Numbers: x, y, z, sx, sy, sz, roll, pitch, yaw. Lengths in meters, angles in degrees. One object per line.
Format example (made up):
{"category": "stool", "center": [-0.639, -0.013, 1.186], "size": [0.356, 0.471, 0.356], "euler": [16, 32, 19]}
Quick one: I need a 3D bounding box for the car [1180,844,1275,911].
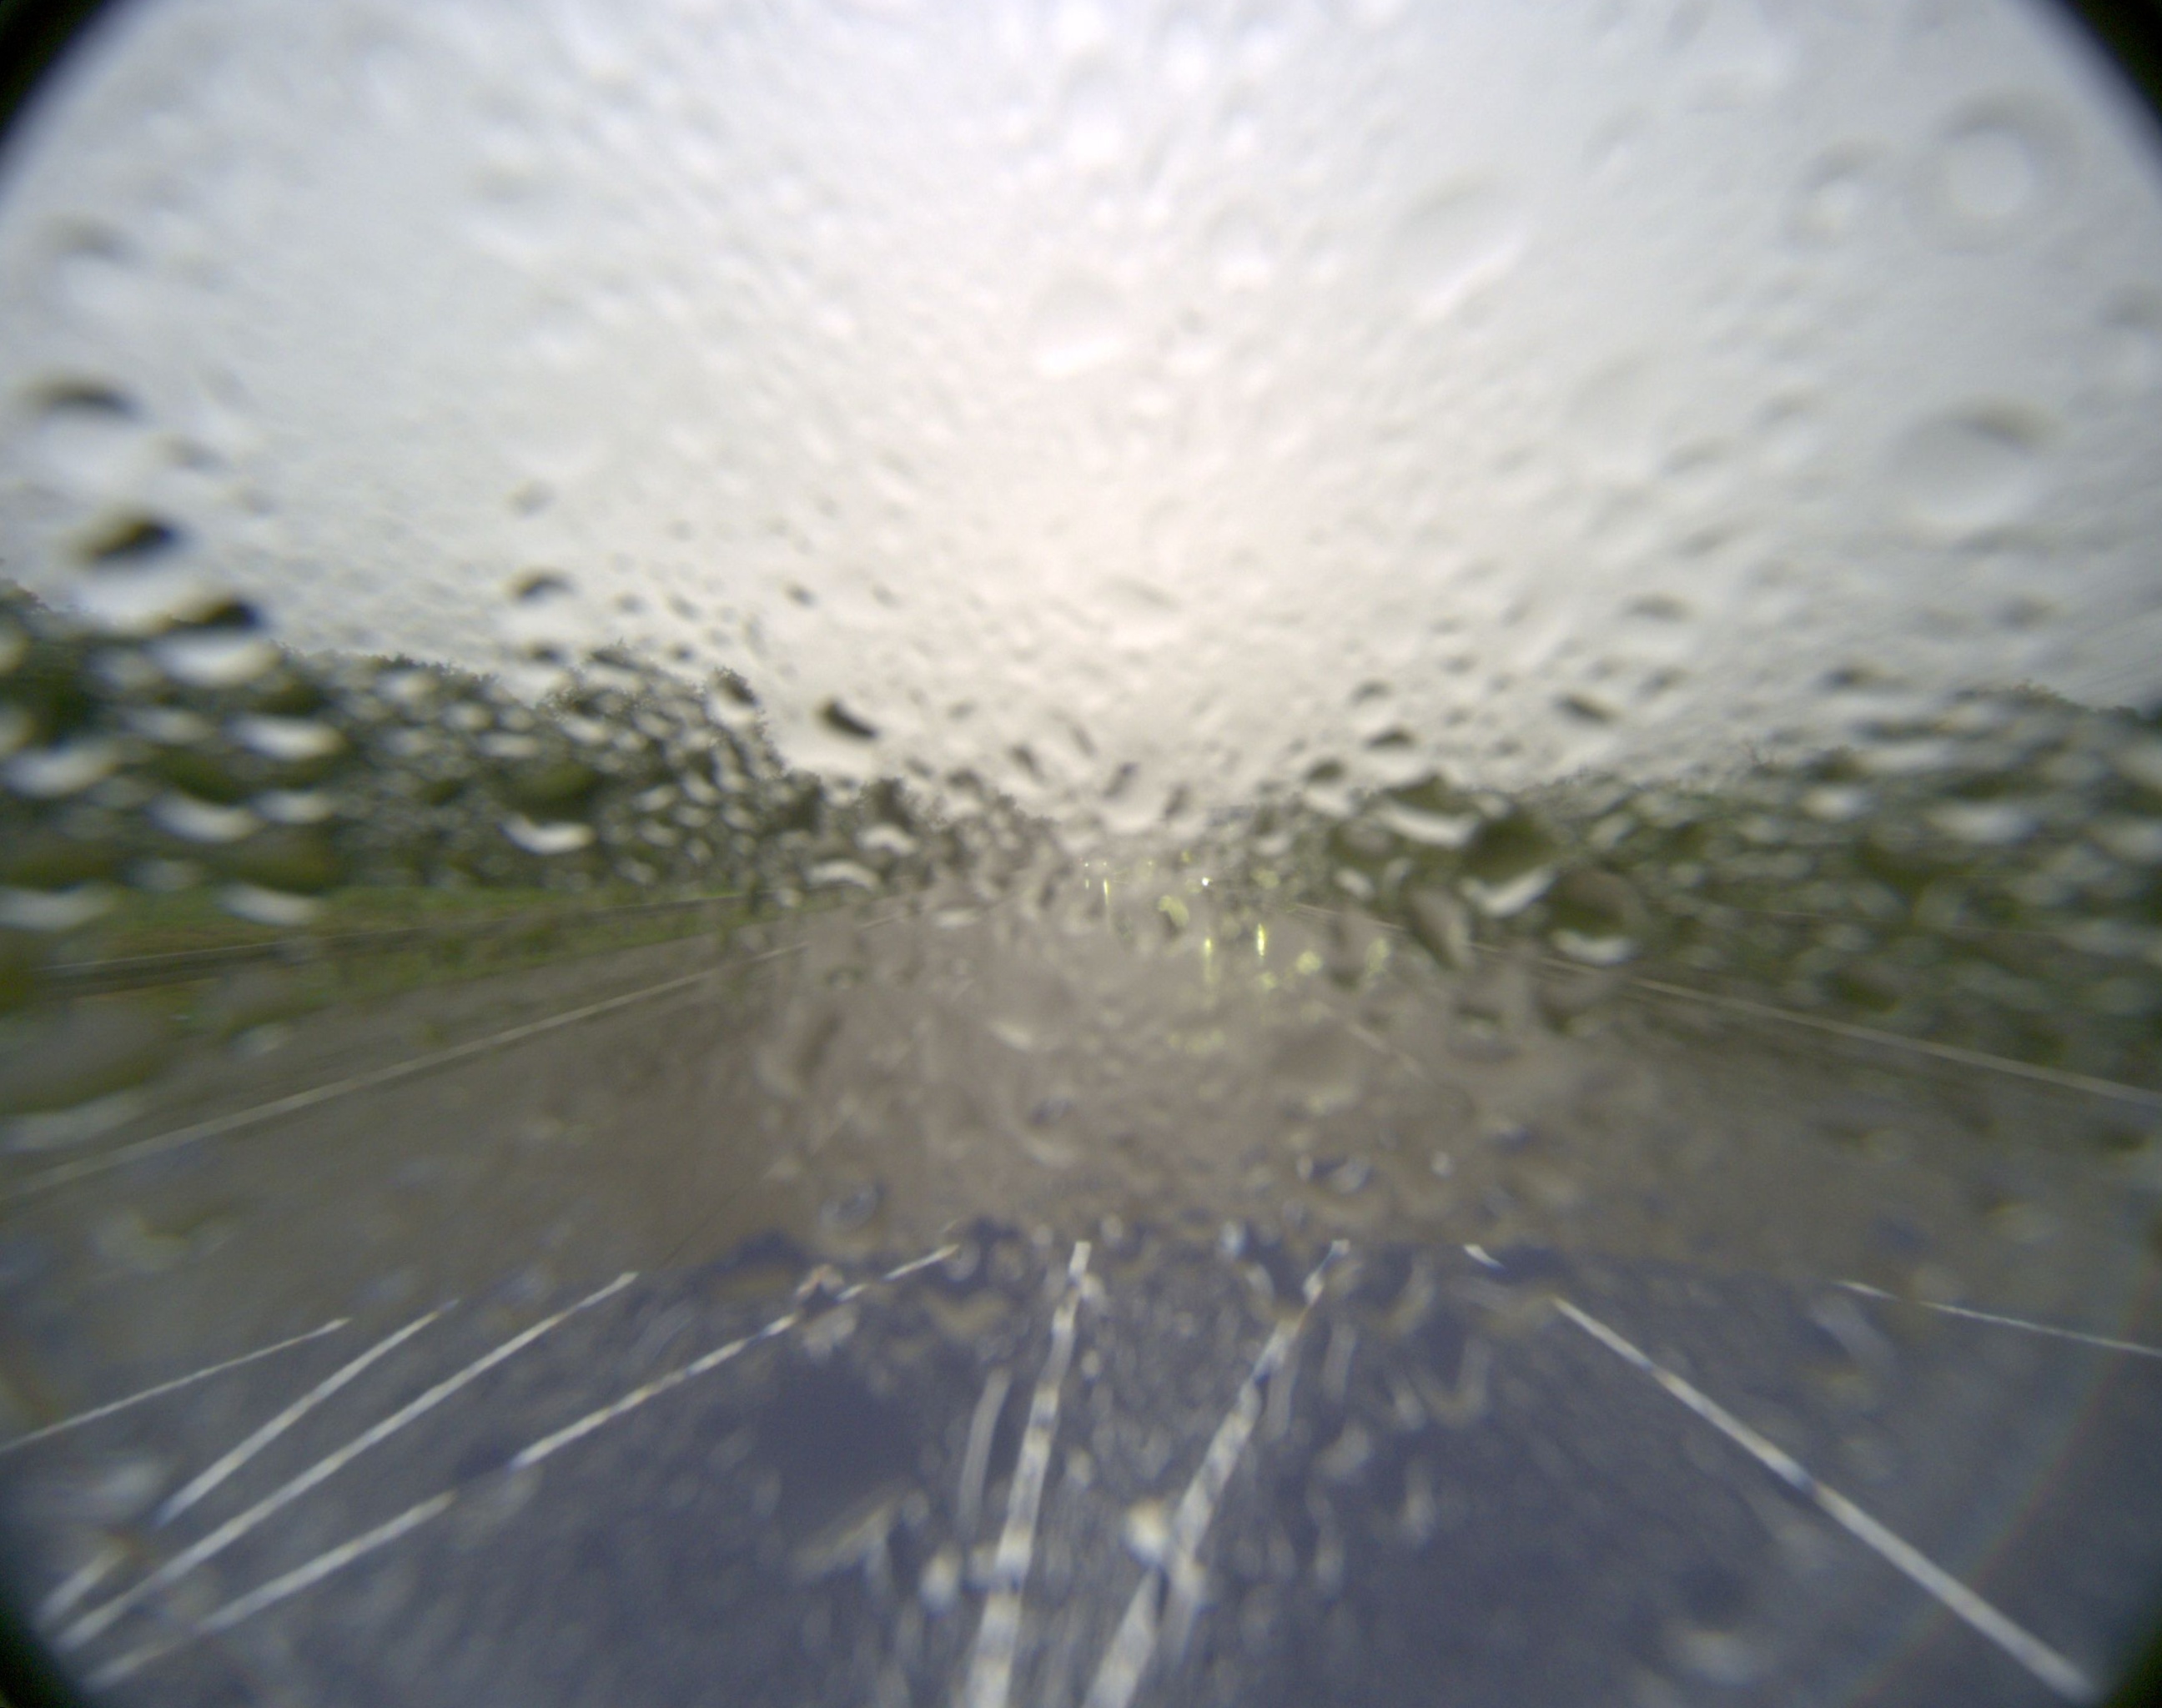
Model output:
{"category": "car", "center": [4.255, 0.622, 22.851], "size": [2.047, 1.763, 4.500], "euler": [-1, 0, 1]}

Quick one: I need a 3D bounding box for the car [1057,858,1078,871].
{"category": "car", "center": [-1.429, 1.156, 82.673], "size": [1.752, 1.205, 4.002], "euler": [-5, 0, 7]}

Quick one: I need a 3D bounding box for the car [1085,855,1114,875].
{"category": "car", "center": [1.392, 0.803, 56.800], "size": [1.752, 1.406, 4.002], "euler": [-2, 0, 7]}

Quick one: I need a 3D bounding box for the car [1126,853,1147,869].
{"category": "car", "center": [5.206, 0.614, 70.553], "size": [1.752, 1.369, 4.002], "euler": [-3, 0, 7]}
